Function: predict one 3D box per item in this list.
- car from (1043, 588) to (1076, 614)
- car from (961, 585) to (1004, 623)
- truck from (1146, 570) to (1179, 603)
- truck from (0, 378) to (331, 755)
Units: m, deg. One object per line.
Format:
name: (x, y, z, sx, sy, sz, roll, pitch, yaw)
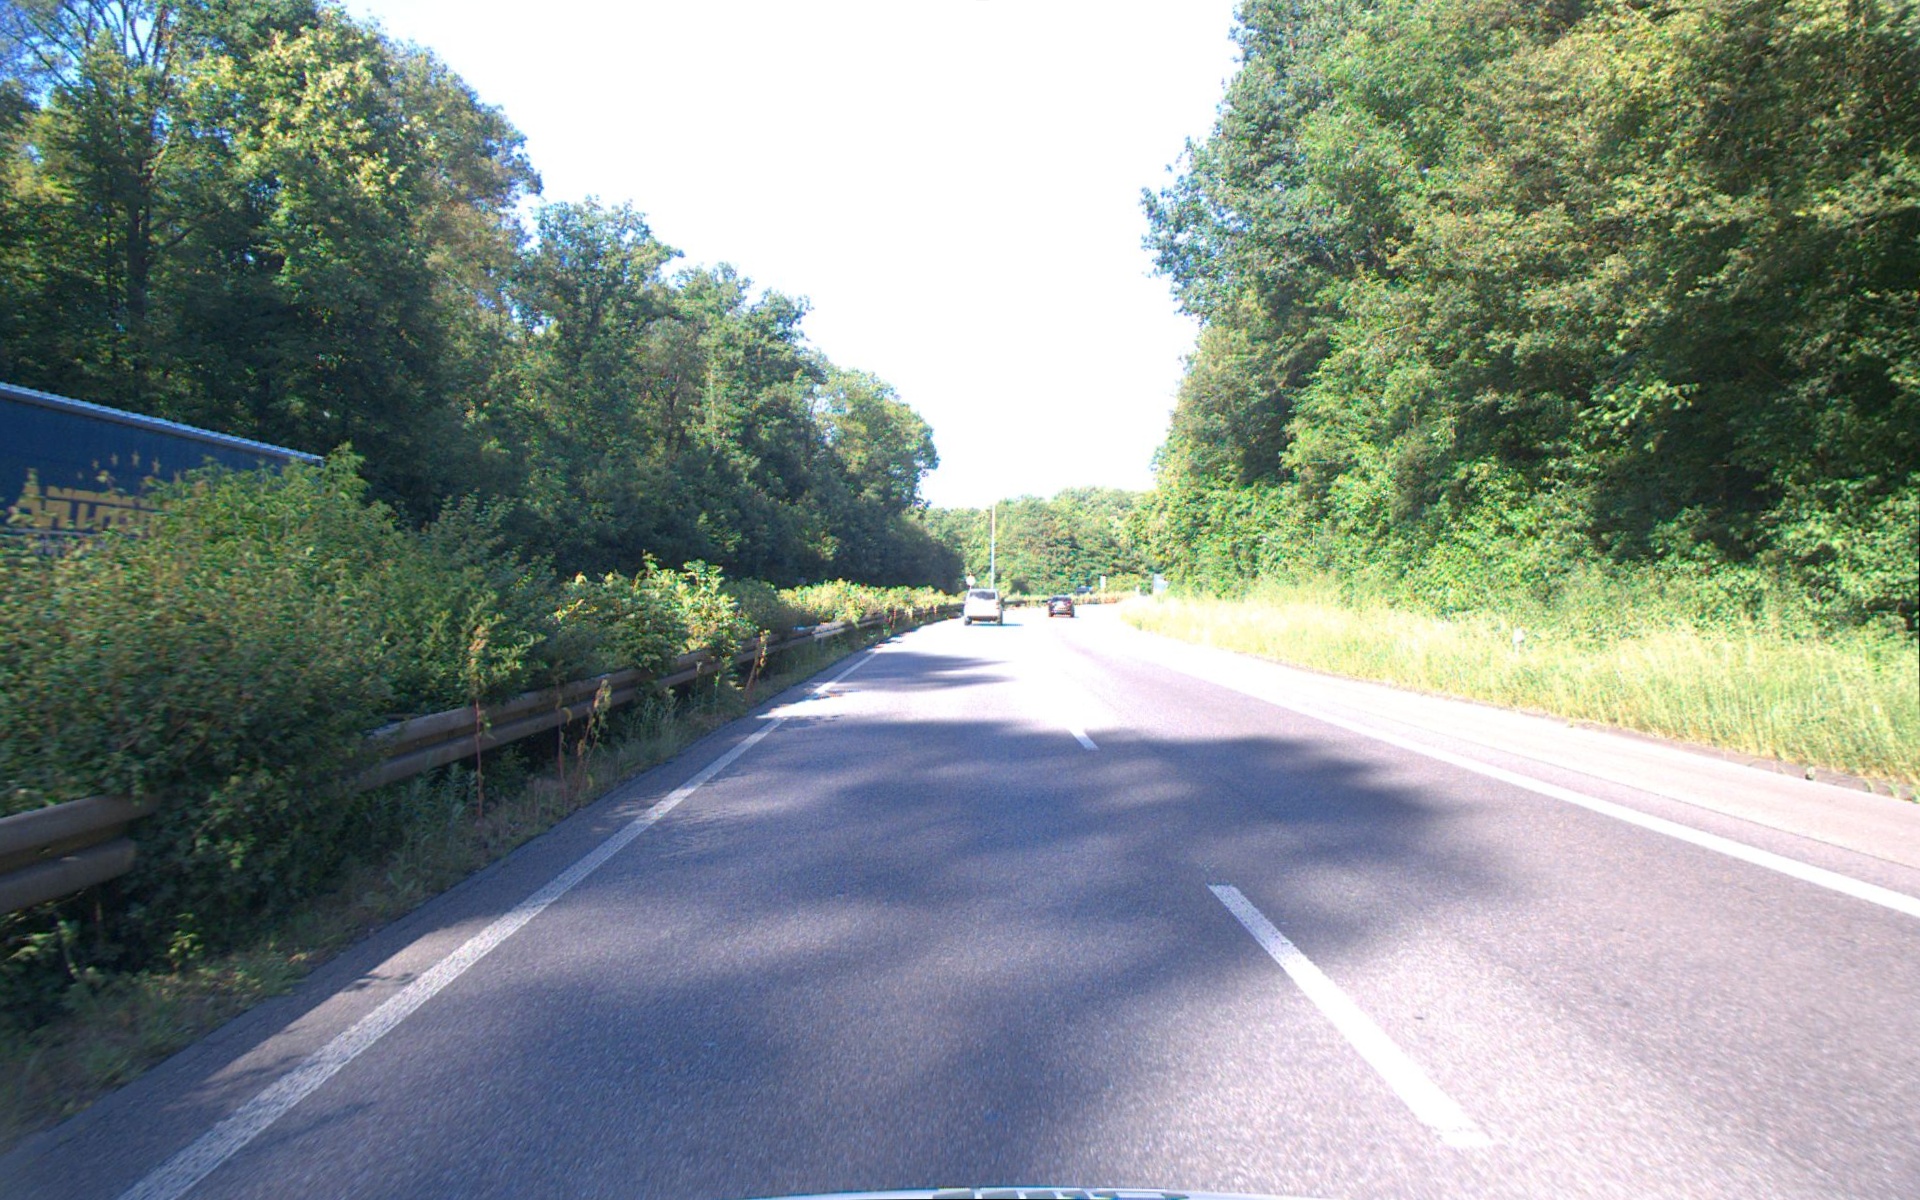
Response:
car: (6.992, 0.064, 117.046, 1.912, 1.813, 4.586, 1, 0, -2)
car: (1.084, 0.174, 82.226, 1.912, 1.813, 4.586, 1, 0, -2)
truck: (28.151, -1.817, 229.393, 3.654, 4.419, 9.312, 1, 0, 12)
truck: (-11.975, -0.380, 20.990, 2.652, 4.168, 14.020, 1, 0, 0)
